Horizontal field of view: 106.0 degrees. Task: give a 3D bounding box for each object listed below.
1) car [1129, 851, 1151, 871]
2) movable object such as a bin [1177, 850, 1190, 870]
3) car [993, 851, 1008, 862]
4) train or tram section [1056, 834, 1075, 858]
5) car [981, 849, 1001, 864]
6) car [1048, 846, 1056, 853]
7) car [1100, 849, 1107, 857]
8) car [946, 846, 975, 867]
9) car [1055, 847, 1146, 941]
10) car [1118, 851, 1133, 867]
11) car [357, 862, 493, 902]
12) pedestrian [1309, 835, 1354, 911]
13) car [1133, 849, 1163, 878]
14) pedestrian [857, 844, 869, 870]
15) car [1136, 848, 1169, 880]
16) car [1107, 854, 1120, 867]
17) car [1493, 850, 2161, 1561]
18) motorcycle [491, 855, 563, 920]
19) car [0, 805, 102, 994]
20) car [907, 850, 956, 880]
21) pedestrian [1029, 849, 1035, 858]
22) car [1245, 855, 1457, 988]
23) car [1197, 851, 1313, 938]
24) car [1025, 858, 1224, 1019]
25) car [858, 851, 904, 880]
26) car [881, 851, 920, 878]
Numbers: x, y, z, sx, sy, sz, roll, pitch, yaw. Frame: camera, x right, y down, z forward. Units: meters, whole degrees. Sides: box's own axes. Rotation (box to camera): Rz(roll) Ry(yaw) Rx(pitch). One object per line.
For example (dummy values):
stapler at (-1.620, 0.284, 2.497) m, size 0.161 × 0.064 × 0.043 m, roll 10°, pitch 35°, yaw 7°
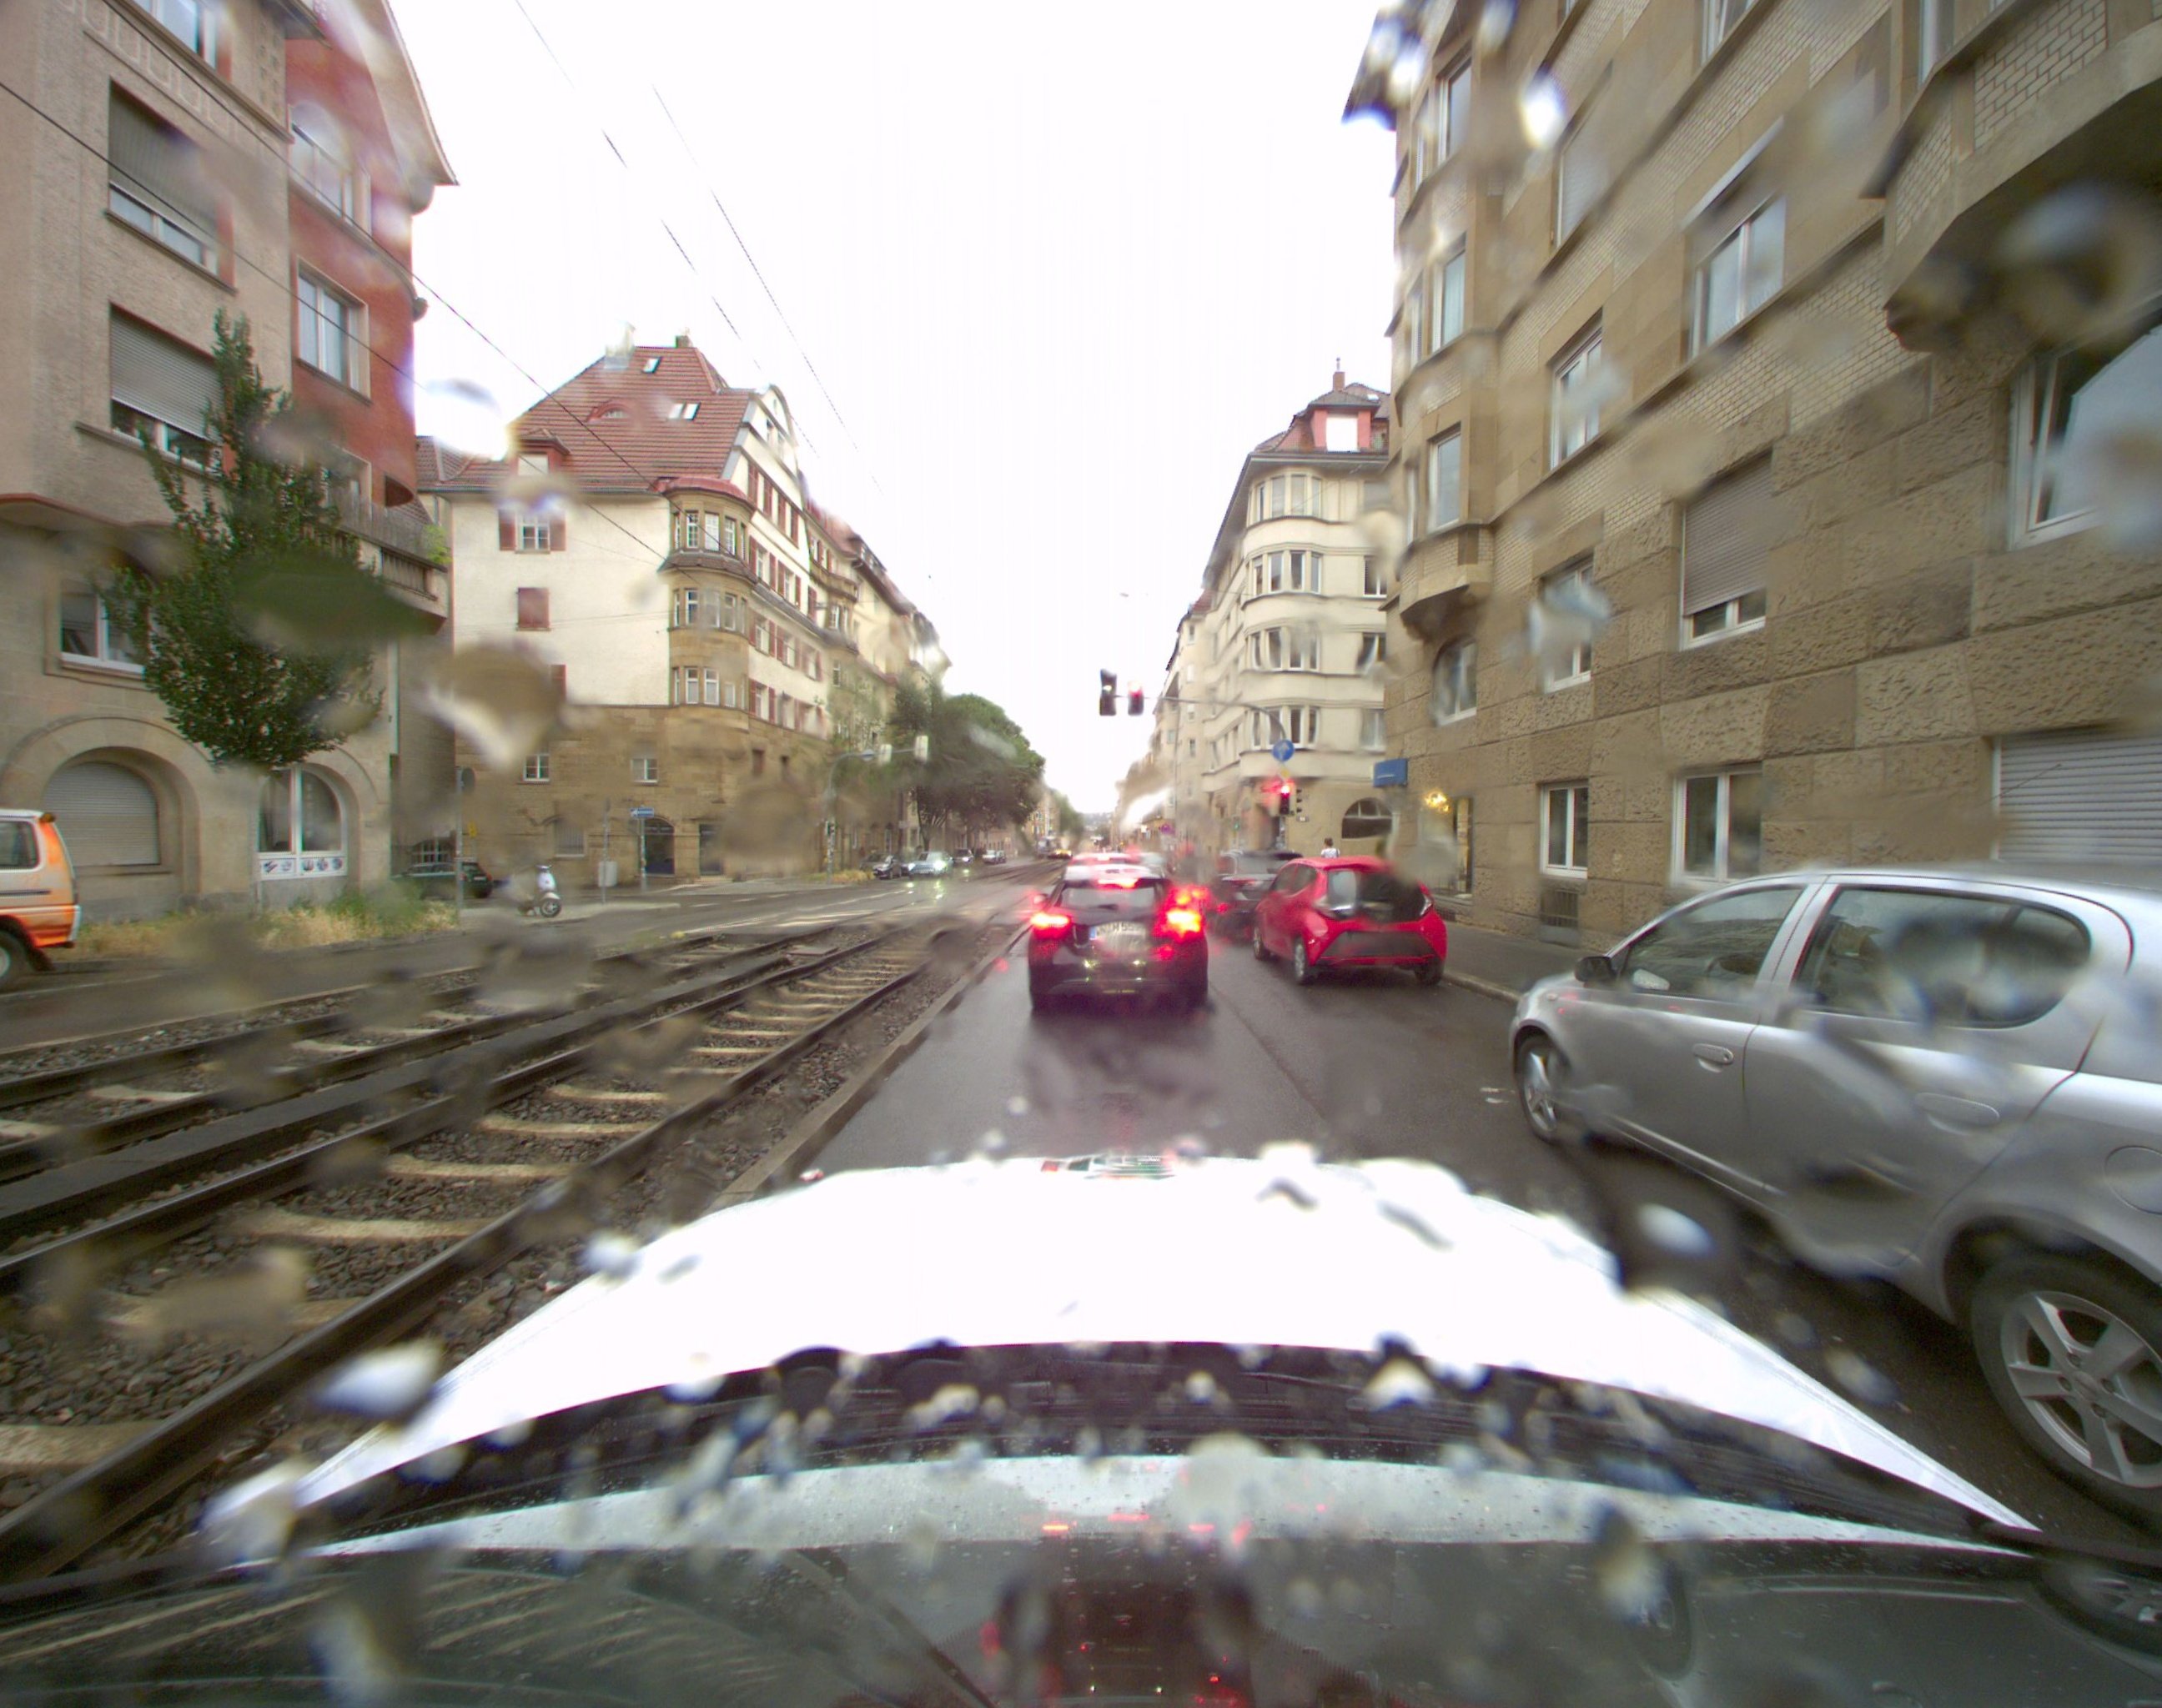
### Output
car at (4.415, 0.537, 61.545) m, size 1.539 × 1.486 × 3.549 m, roll 0°, pitch 0°, yaw 2°
movable object such as a bin at (7.473, 0.431, 59.518) m, size 0.873 × 1.389 × 0.984 m, roll 0°, pitch -1°, yaw 5°
car at (-9.795, 0.309, 98.976) m, size 1.443 × 1.331 × 3.271 m, roll 0°, pitch -1°, yaw 0°
train or tram section at (-2.569, -1.288, 140.367) m, size 2.772 × 3.861 × 10.433 m, roll 0°, pitch -1°, yaw 2°
car at (-9.866, 0.320, 89.560) m, size 1.583 × 1.581 × 3.920 m, roll 0°, pitch -1°, yaw 2°
car at (-5.377, -0.873, 151.506) m, size 1.372 × 1.249 × 3.297 m, roll 0°, pitch -1°, yaw 0°
car at (5.891, -0.251, 212.459) m, size 1.986 × 1.876 × 4.001 m, roll 0°, pitch -1°, yaw 2°
car at (-10.596, 0.224, 72.102) m, size 1.868 × 1.737 × 3.920 m, roll 0°, pitch -1°, yaw 2°
car at (0.389, 0.701, 15.921) m, size 1.559 × 1.609 × 3.815 m, roll 0°, pitch -1°, yaw 2°
car at (4.026, 0.414, 73.635) m, size 1.289 × 1.442 × 2.930 m, roll 0°, pitch 0°, yaw 2°
car at (-24.387, 1.013, 30.372) m, size 3.633 × 1.404 × 1.699 m, roll 0°, pitch -1°, yaw -3°
pedestrian at (5.933, 0.449, 19.331) m, size 0.739 × 1.748 × 1.111 m, roll 0°, pitch -1°, yaw 2°
car at (3.841, 0.532, 47.138) m, size 1.539 × 1.590 × 3.549 m, roll 0°, pitch 0°, yaw 2°
pedestrian at (-13.971, 0.207, 52.212) m, size 0.630 × 1.672 × 0.701 m, roll 0°, pitch -1°, yaw -7°
car at (3.699, 0.488, 42.663) m, size 1.539 × 1.590 × 3.549 m, roll 0°, pitch 0°, yaw 2°
car at (4.178, 0.811, 104.203) m, size 1.537 × 1.636 × 3.691 m, roll 0°, pitch 0°, yaw 5°
car at (3.142, 0.741, 3.062) m, size 1.608 × 1.467 × 3.314 m, roll -2°, pitch 0°, yaw 3°
motorcycle at (-12.070, 0.712, 17.729) m, size 1.577 × 1.365 × 0.628 m, roll -1°, pitch -1°, yaw 28°
car at (-12.126, 0.468, 7.173) m, size 1.725 × 1.975 × 4.341 m, roll 0°, pitch -1°, yaw 0°
car at (-8.272, 0.587, 45.394) m, size 1.891 × 1.588 × 3.974 m, roll 0°, pitch -1°, yaw 2°
pedestrian at (-10.818, -0.197, 179.686) m, size 1.049 × 1.957 × 1.043 m, roll 1°, pitch 0°, yaw 3°
car at (3.273, 0.735, 10.527) m, size 1.637 × 1.448 × 3.298 m, roll 0°, pitch 0°, yaw -1°
car at (3.240, 0.690, 15.771) m, size 1.539 × 1.486 × 3.831 m, roll 0°, pitch 0°, yaw 2°
car at (0.463, 0.782, 9.526) m, size 1.822 × 1.458 × 4.105 m, roll 0°, pitch 0°, yaw 2°
car at (-11.257, 0.646, 46.080) m, size 1.747 × 1.552 × 4.033 m, roll 0°, pitch -1°, yaw -2°
car at (-11.288, 0.652, 51.115) m, size 1.713 × 1.611 × 3.914 m, roll 0°, pitch -1°, yaw -3°
